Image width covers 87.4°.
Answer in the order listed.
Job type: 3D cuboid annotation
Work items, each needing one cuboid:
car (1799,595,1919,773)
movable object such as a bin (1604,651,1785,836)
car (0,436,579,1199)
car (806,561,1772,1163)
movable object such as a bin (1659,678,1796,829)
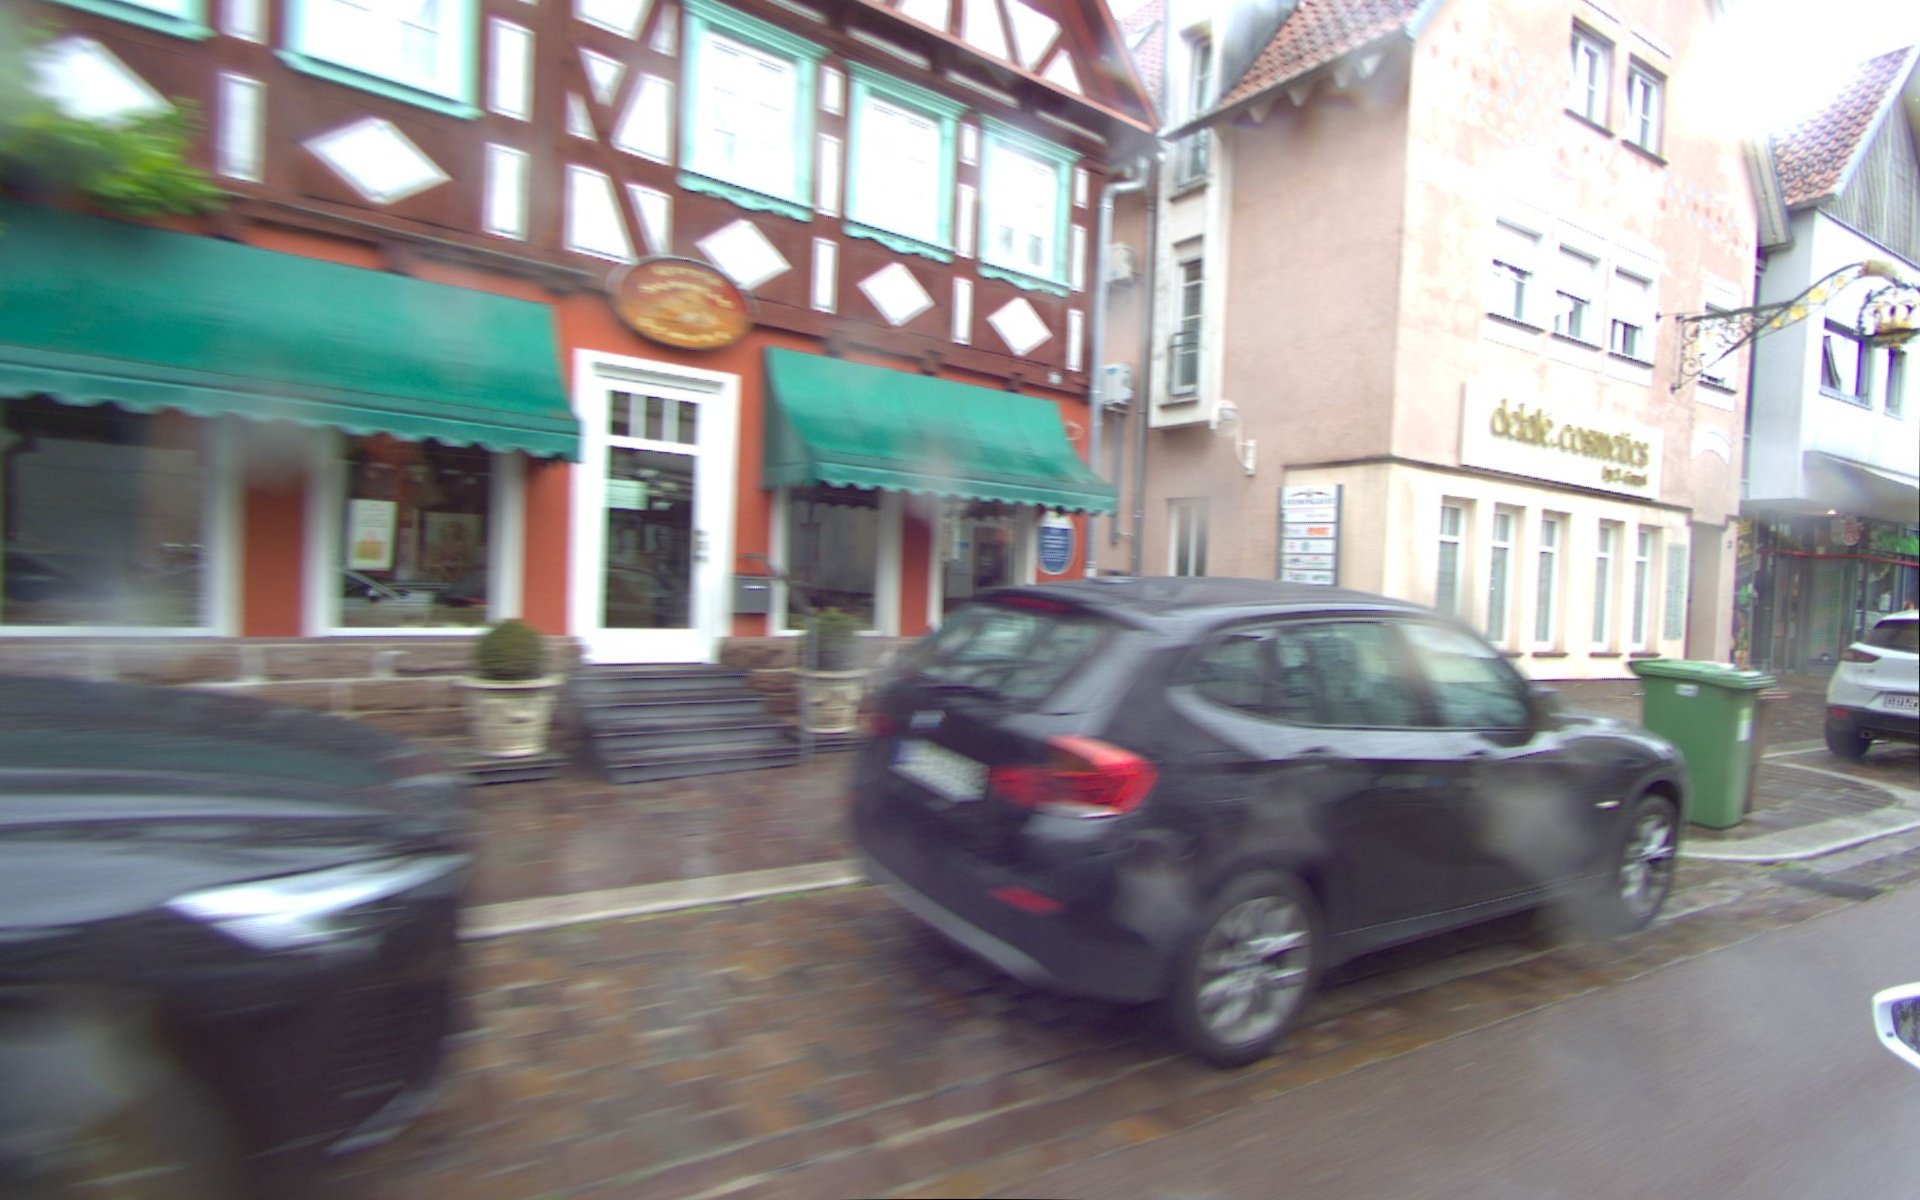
[{"bbox_3d":[10.457,0.795,10.082,4.069,1.559,1.684,0,3,-29],"label":"car"},{"bbox_3d":[4.980,0.932,6.823,0.669,1.096,0.764,2,1,-34],"label":"movable object such as a bin"},{"bbox_3d":[-3.239,0.514,1.712,4.590,1.689,1.814,1,3,-32],"label":"car"},{"bbox_3d":[1.632,0.682,4.529,4.241,1.559,1.770,0,4,-32],"label":"car"},{"bbox_3d":[5.490,1.070,7.195,0.494,0.951,0.605,2,2,-34],"label":"movable object such as a bin"}]
